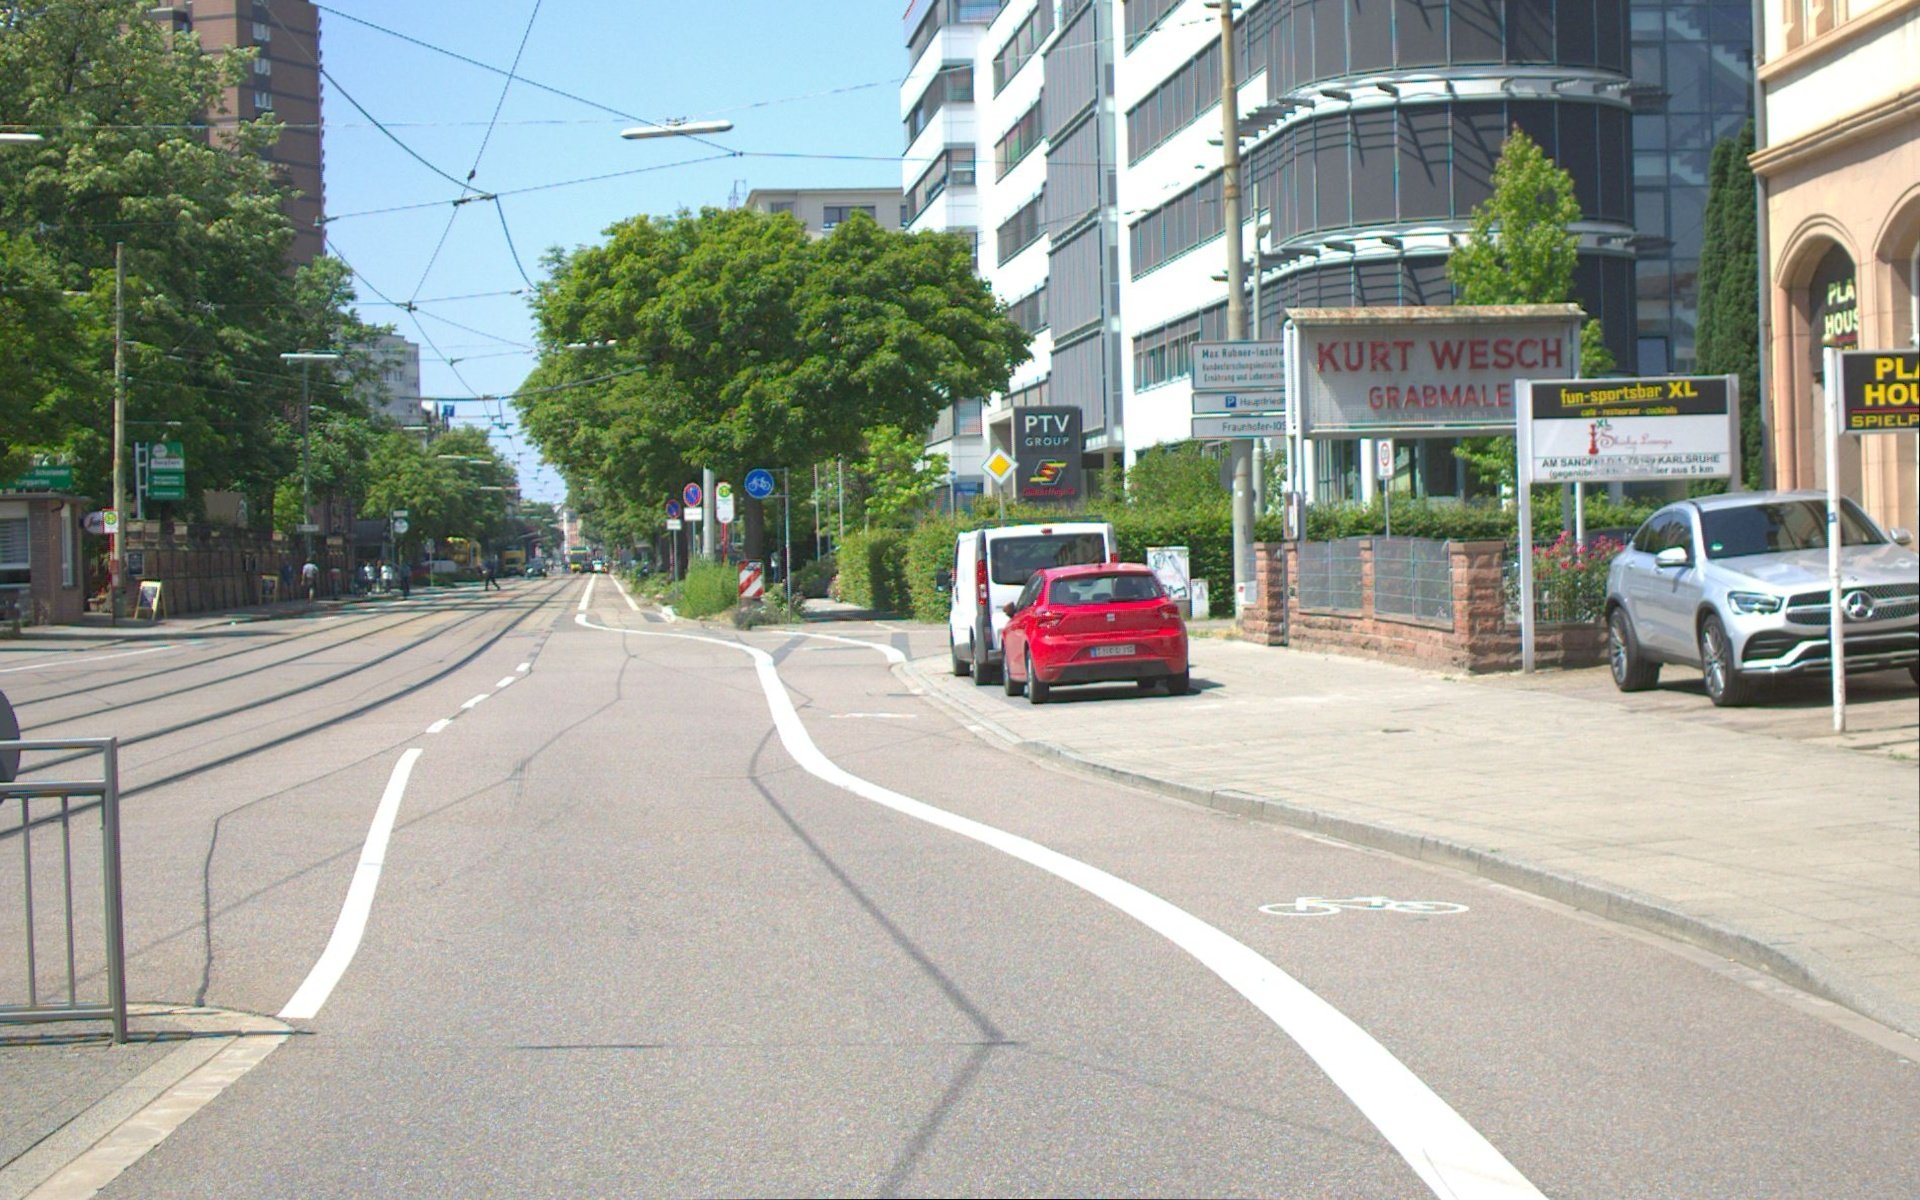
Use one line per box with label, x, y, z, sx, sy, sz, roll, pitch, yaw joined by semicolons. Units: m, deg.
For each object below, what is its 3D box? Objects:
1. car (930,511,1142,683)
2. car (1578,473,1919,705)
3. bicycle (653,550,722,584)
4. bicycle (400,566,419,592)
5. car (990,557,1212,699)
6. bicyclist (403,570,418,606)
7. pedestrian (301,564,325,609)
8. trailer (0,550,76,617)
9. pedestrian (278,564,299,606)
car;0.905;-0.085;44.604;1.993;1.985;5.515;-3;1;-6
car;6.506;-0.127;27.744;1.878;1.619;4.640;-4;1;-3
bicycle;-10.146;-1.223;128.117;2.510;1.205;0.648;-1;1;-1
bicycle;-26.162;-0.998;163.483;0.701;1.200;2.241;-3;1;-6
car;1.489;0.269;37.912;1.993;1.437;4.017;-1;1;-4
bicyclist;-26.159;-0.568;163.614;0.642;1.674;0.815;-2;1;-7
pedestrian;-25.232;-0.533;134.049;0.814;1.764;0.925;-1;0;-6
trailer;-24.399;-0.430;88.653;2.829;1.698;1.621;-1;1;-5
pedestrian;-27.312;-0.609;139.899;0.743;1.722;0.867;-1;0;-6
